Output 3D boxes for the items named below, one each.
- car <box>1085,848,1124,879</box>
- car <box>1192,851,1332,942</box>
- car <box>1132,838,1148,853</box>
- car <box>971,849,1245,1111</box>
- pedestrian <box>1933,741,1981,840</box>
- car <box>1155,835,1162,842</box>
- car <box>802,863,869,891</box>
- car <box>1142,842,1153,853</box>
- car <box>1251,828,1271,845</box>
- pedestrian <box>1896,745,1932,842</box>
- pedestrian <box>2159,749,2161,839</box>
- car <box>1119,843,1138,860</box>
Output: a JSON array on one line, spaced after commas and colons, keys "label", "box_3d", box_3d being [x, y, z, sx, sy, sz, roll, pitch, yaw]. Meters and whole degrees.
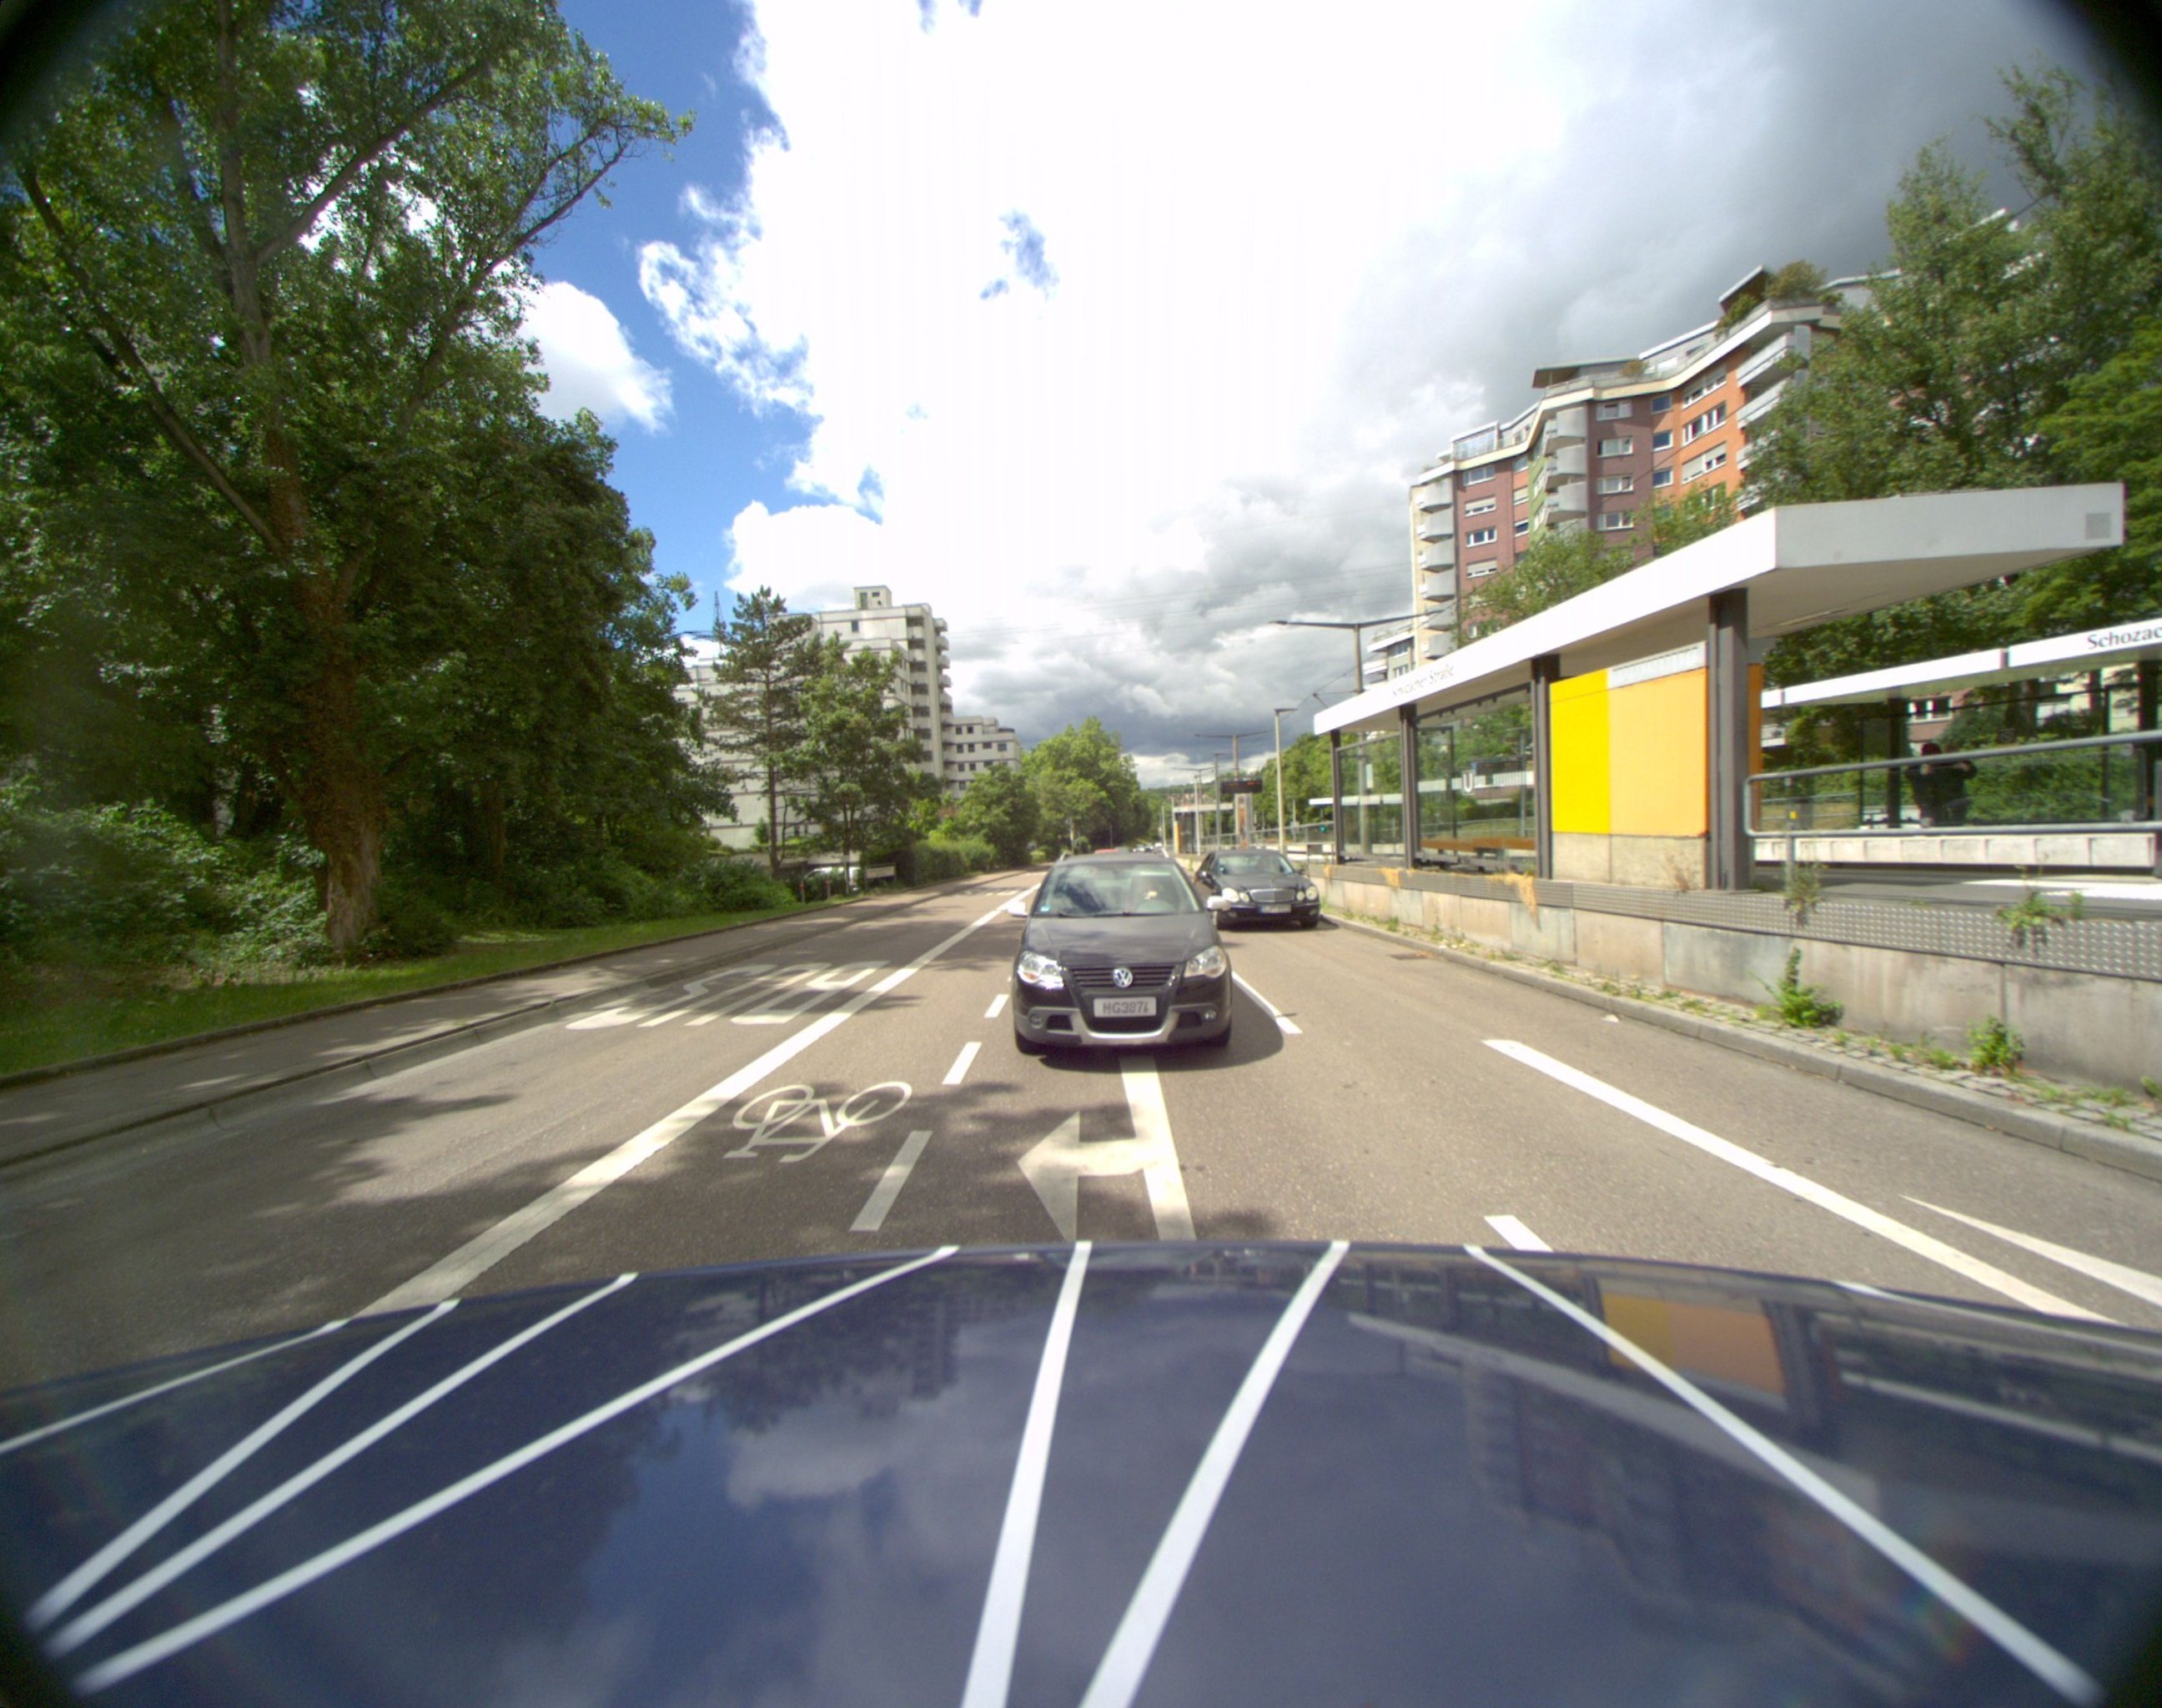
[{"label": "car", "box_3d": [1.200, 0.441, 38.455, 1.821, 1.377, 4.065, -2, 1, 2]}, {"label": "car", "box_3d": [3.283, 0.697, 14.583, 1.821, 1.377, 4.065, -2, 1, 2]}, {"label": "car", "box_3d": [8.330, -1.194, 107.713, 1.997, 2.002, 4.001, -2, 2, 7]}, {"label": "car", "box_3d": [0.264, 0.777, 6.707, 1.641, 1.521, 4.000, -2, 1, 3]}, {"label": "pedestrian", "box_3d": [15.463, -1.104, 13.420, 0.387, 1.703, 0.550, -4, 2, -41]}, {"label": "car", "box_3d": [19.128, -3.815, 186.683, 1.518, 1.674, 4.000, -2, 1, 3]}, {"label": "car", "box_3d": [-19.606, 1.824, 60.767, 4.543, 2.002, 2.001, -2, 1, 7]}, {"label": "car", "box_3d": [11.601, -1.127, 132.106, 1.801, 1.698, 4.000, -3, 2, 4]}, {"label": "car", "box_3d": [23.329, -2.255, 98.692, 1.737, 2.002, 4.000, -2, 1, 2]}, {"label": "pedestrian", "box_3d": [15.060, -1.082, 13.732, 0.354, 1.703, 0.426, -4, 2, -41]}, {"label": "pedestrian", "box_3d": [15.647, -0.855, 10.545, 0.713, 1.270, 0.463, -2, 2, 0]}, {"label": "car", "box_3d": [4.502, -0.264, 71.803, 1.643, 1.395, 3.708, -2, 1, 5]}]
